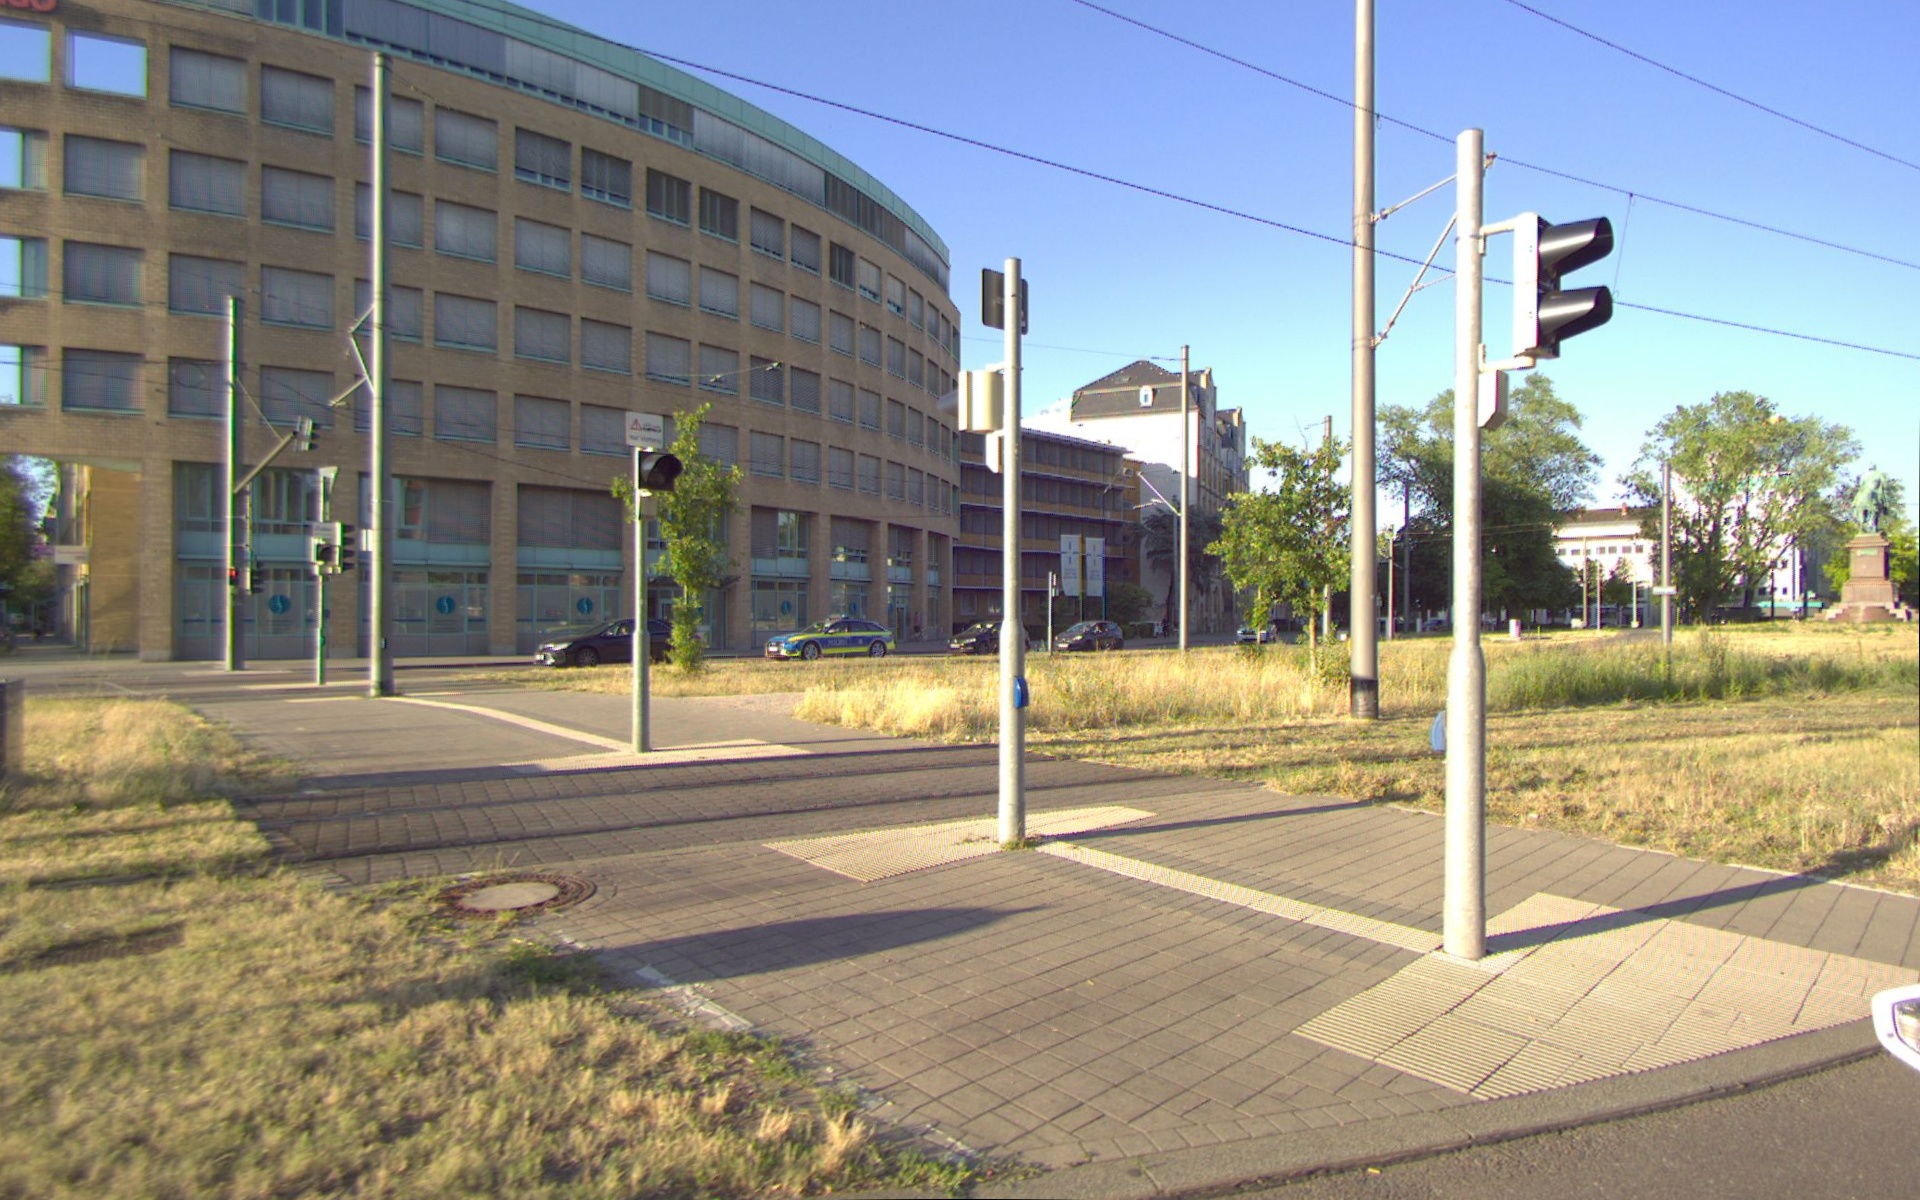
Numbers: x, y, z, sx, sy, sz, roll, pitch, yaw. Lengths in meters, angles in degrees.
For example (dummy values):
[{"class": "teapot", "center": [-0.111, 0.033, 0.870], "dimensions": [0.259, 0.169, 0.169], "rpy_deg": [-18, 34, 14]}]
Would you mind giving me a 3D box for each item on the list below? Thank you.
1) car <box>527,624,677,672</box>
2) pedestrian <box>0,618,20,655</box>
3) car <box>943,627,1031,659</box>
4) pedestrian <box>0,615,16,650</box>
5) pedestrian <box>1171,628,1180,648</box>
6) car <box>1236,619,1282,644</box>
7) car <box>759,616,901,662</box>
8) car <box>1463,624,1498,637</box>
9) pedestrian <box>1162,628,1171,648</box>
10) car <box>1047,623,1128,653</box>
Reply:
[{"class": "car", "center": [-10.366, 1.353, 29.222], "dimensions": [3.763, 1.299, 1.708], "rpy_deg": [1, -1, -44]}, {"class": "pedestrian", "center": [-40.923, 1.565, 43.230], "dimensions": [0.575, 1.576, 0.738], "rpy_deg": [0, -1, -37]}, {"class": "car", "center": [1.124, 1.713, 40.324], "dimensions": [1.504, 1.169, 3.576], "rpy_deg": [0, -1, 44]}, {"class": "pedestrian", "center": [-43.996, 1.497, 46.303], "dimensions": [0.575, 1.576, 0.738], "rpy_deg": [0, -1, -37]}, {"class": "pedestrian", "center": [15.861, 2.825, 73.903], "dimensions": [0.482, 1.449, 0.409], "rpy_deg": [1, -1, -44]}, {"class": "car", "center": [18.932, 1.991, 63.507], "dimensions": [1.745, 1.502, 4.300], "rpy_deg": [0, -1, 31]}, {"class": "car", "center": [-4.439, 1.305, 34.863], "dimensions": [4.749, 1.500, 1.870], "rpy_deg": [1, -1, -44]}, {"class": "car", "center": [55.853, 3.249, 107.779], "dimensions": [3.476, 1.372, 1.543], "rpy_deg": [1, 0, -28]}, {"class": "pedestrian", "center": [15.299, 2.813, 74.372], "dimensions": [0.482, 1.449, 0.409], "rpy_deg": [1, -1, -44]}, {"class": "car", "center": [5.751, 1.676, 45.132], "dimensions": [3.714, 1.298, 1.630], "rpy_deg": [1, -1, -44]}]
